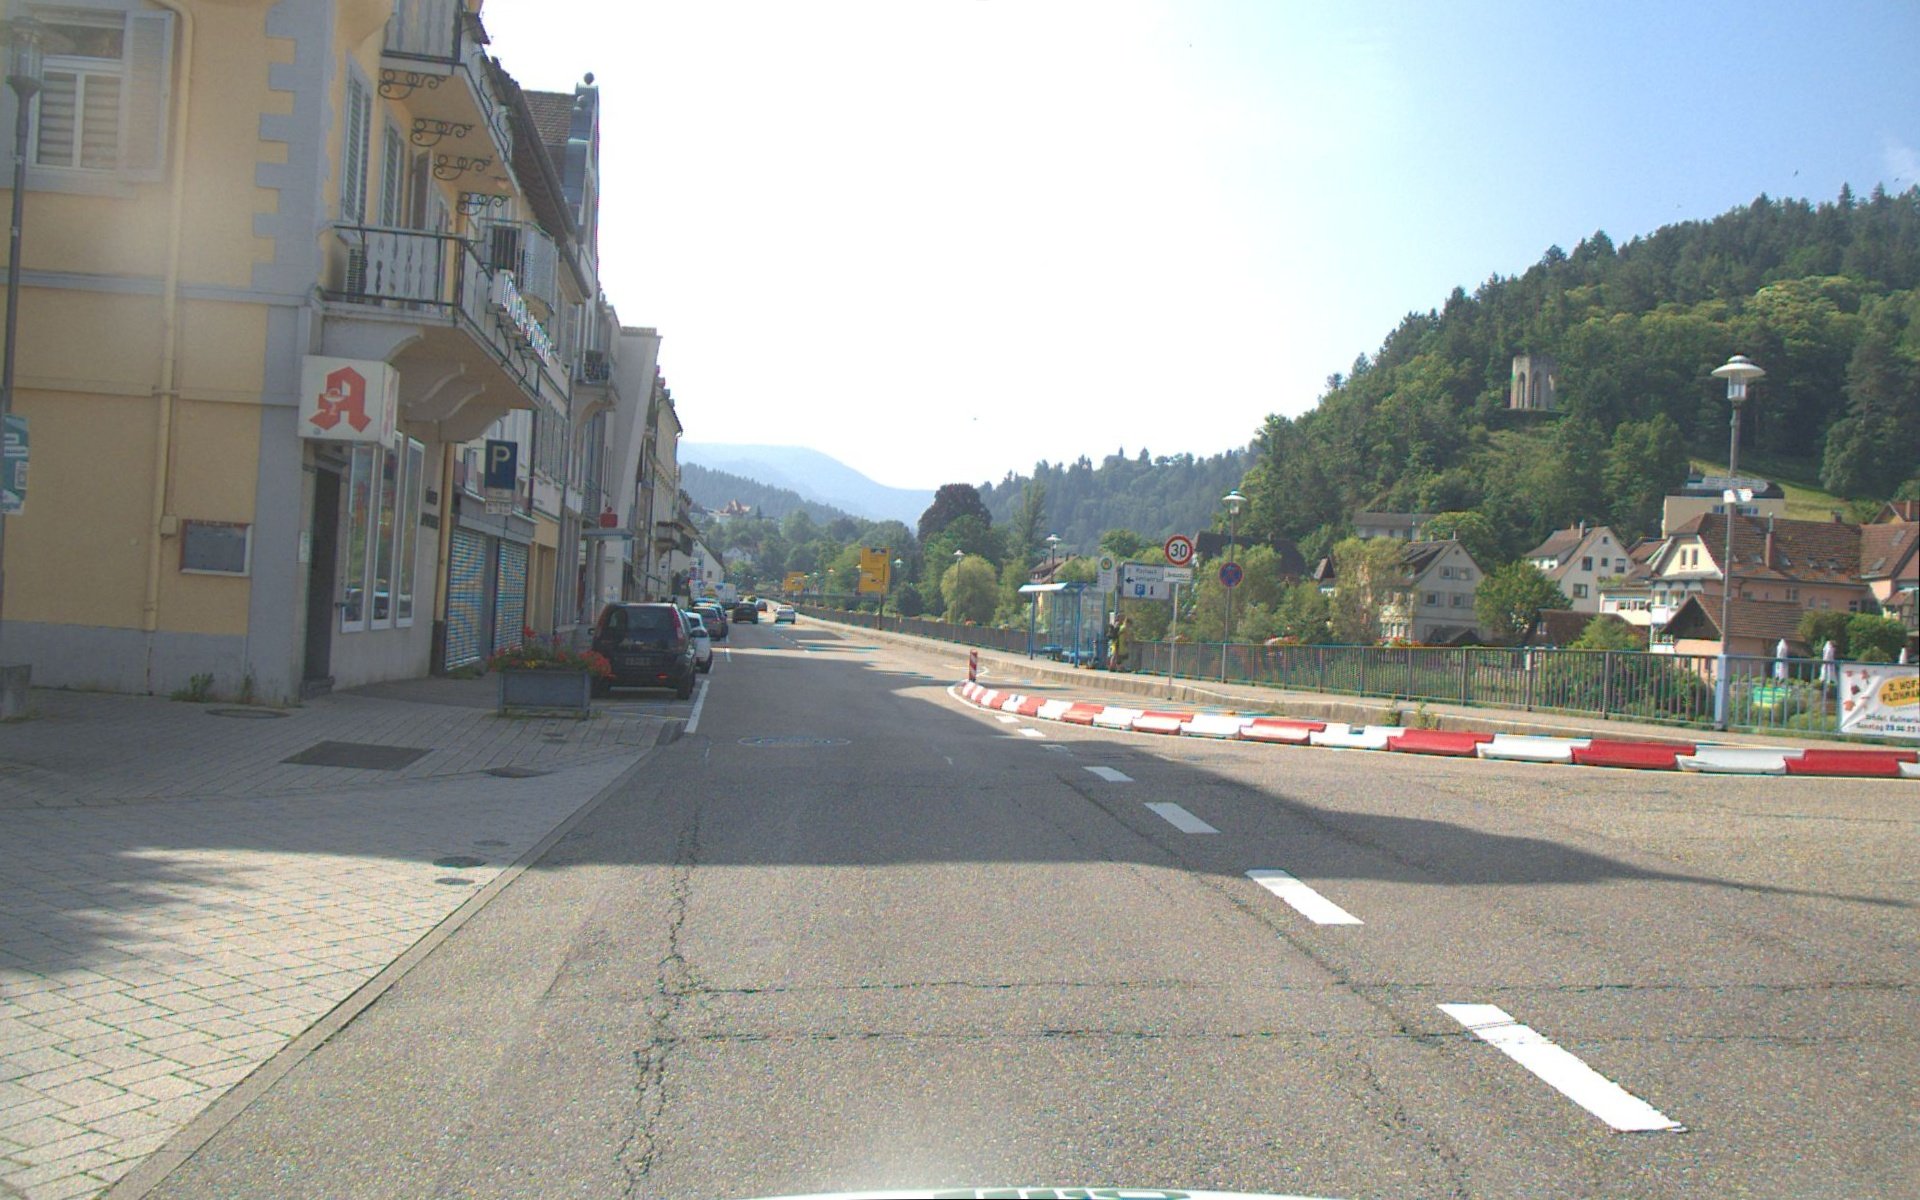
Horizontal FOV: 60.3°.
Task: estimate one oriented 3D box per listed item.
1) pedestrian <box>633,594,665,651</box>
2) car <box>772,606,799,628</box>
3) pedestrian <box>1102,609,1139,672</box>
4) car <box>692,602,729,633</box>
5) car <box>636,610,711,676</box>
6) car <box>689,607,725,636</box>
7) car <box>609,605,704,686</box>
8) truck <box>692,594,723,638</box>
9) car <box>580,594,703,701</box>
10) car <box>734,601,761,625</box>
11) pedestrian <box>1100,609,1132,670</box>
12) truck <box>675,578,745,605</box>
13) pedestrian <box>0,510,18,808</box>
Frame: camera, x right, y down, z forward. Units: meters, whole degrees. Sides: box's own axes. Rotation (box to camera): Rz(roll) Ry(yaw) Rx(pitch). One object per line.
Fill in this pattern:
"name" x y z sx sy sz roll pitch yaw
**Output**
"pedestrian" -9.641 0.692 51.219 0.674 1.726 0.660 2 -1 19
"car" -14.217 1.375 134.591 1.956 1.691 3.993 3 0 -8
"pedestrian" 4.558 1.135 47.072 0.850 1.735 0.776 3 -1 -6
"car" -12.455 0.872 82.635 1.715 1.473 3.269 2 -1 -9
"car" -7.063 1.034 41.033 1.715 1.473 3.787 2 -1 -9
"car" -11.702 0.985 76.494 1.534 1.241 3.269 2 -1 -9
"car" -6.005 0.874 32.988 1.715 1.473 3.269 2 -1 -9
"truck" -15.068 0.959 98.878 1.715 2.511 4.652 2 -1 -9
"car" -5.222 0.750 27.477 1.812 1.596 3.560 2 -1 -9
"car" -16.484 1.019 128.499 1.956 1.691 3.993 3 0 -8
"pedestrian" 4.495 1.137 47.726 0.774 1.735 0.491 3 -1 -6
"truck" -33.866 -1.095 224.115 9.122 3.321 3.035 3 -1 -41
"pedestrian" -6.016 0.325 9.777 0.671 1.744 0.610 3 0 -33
